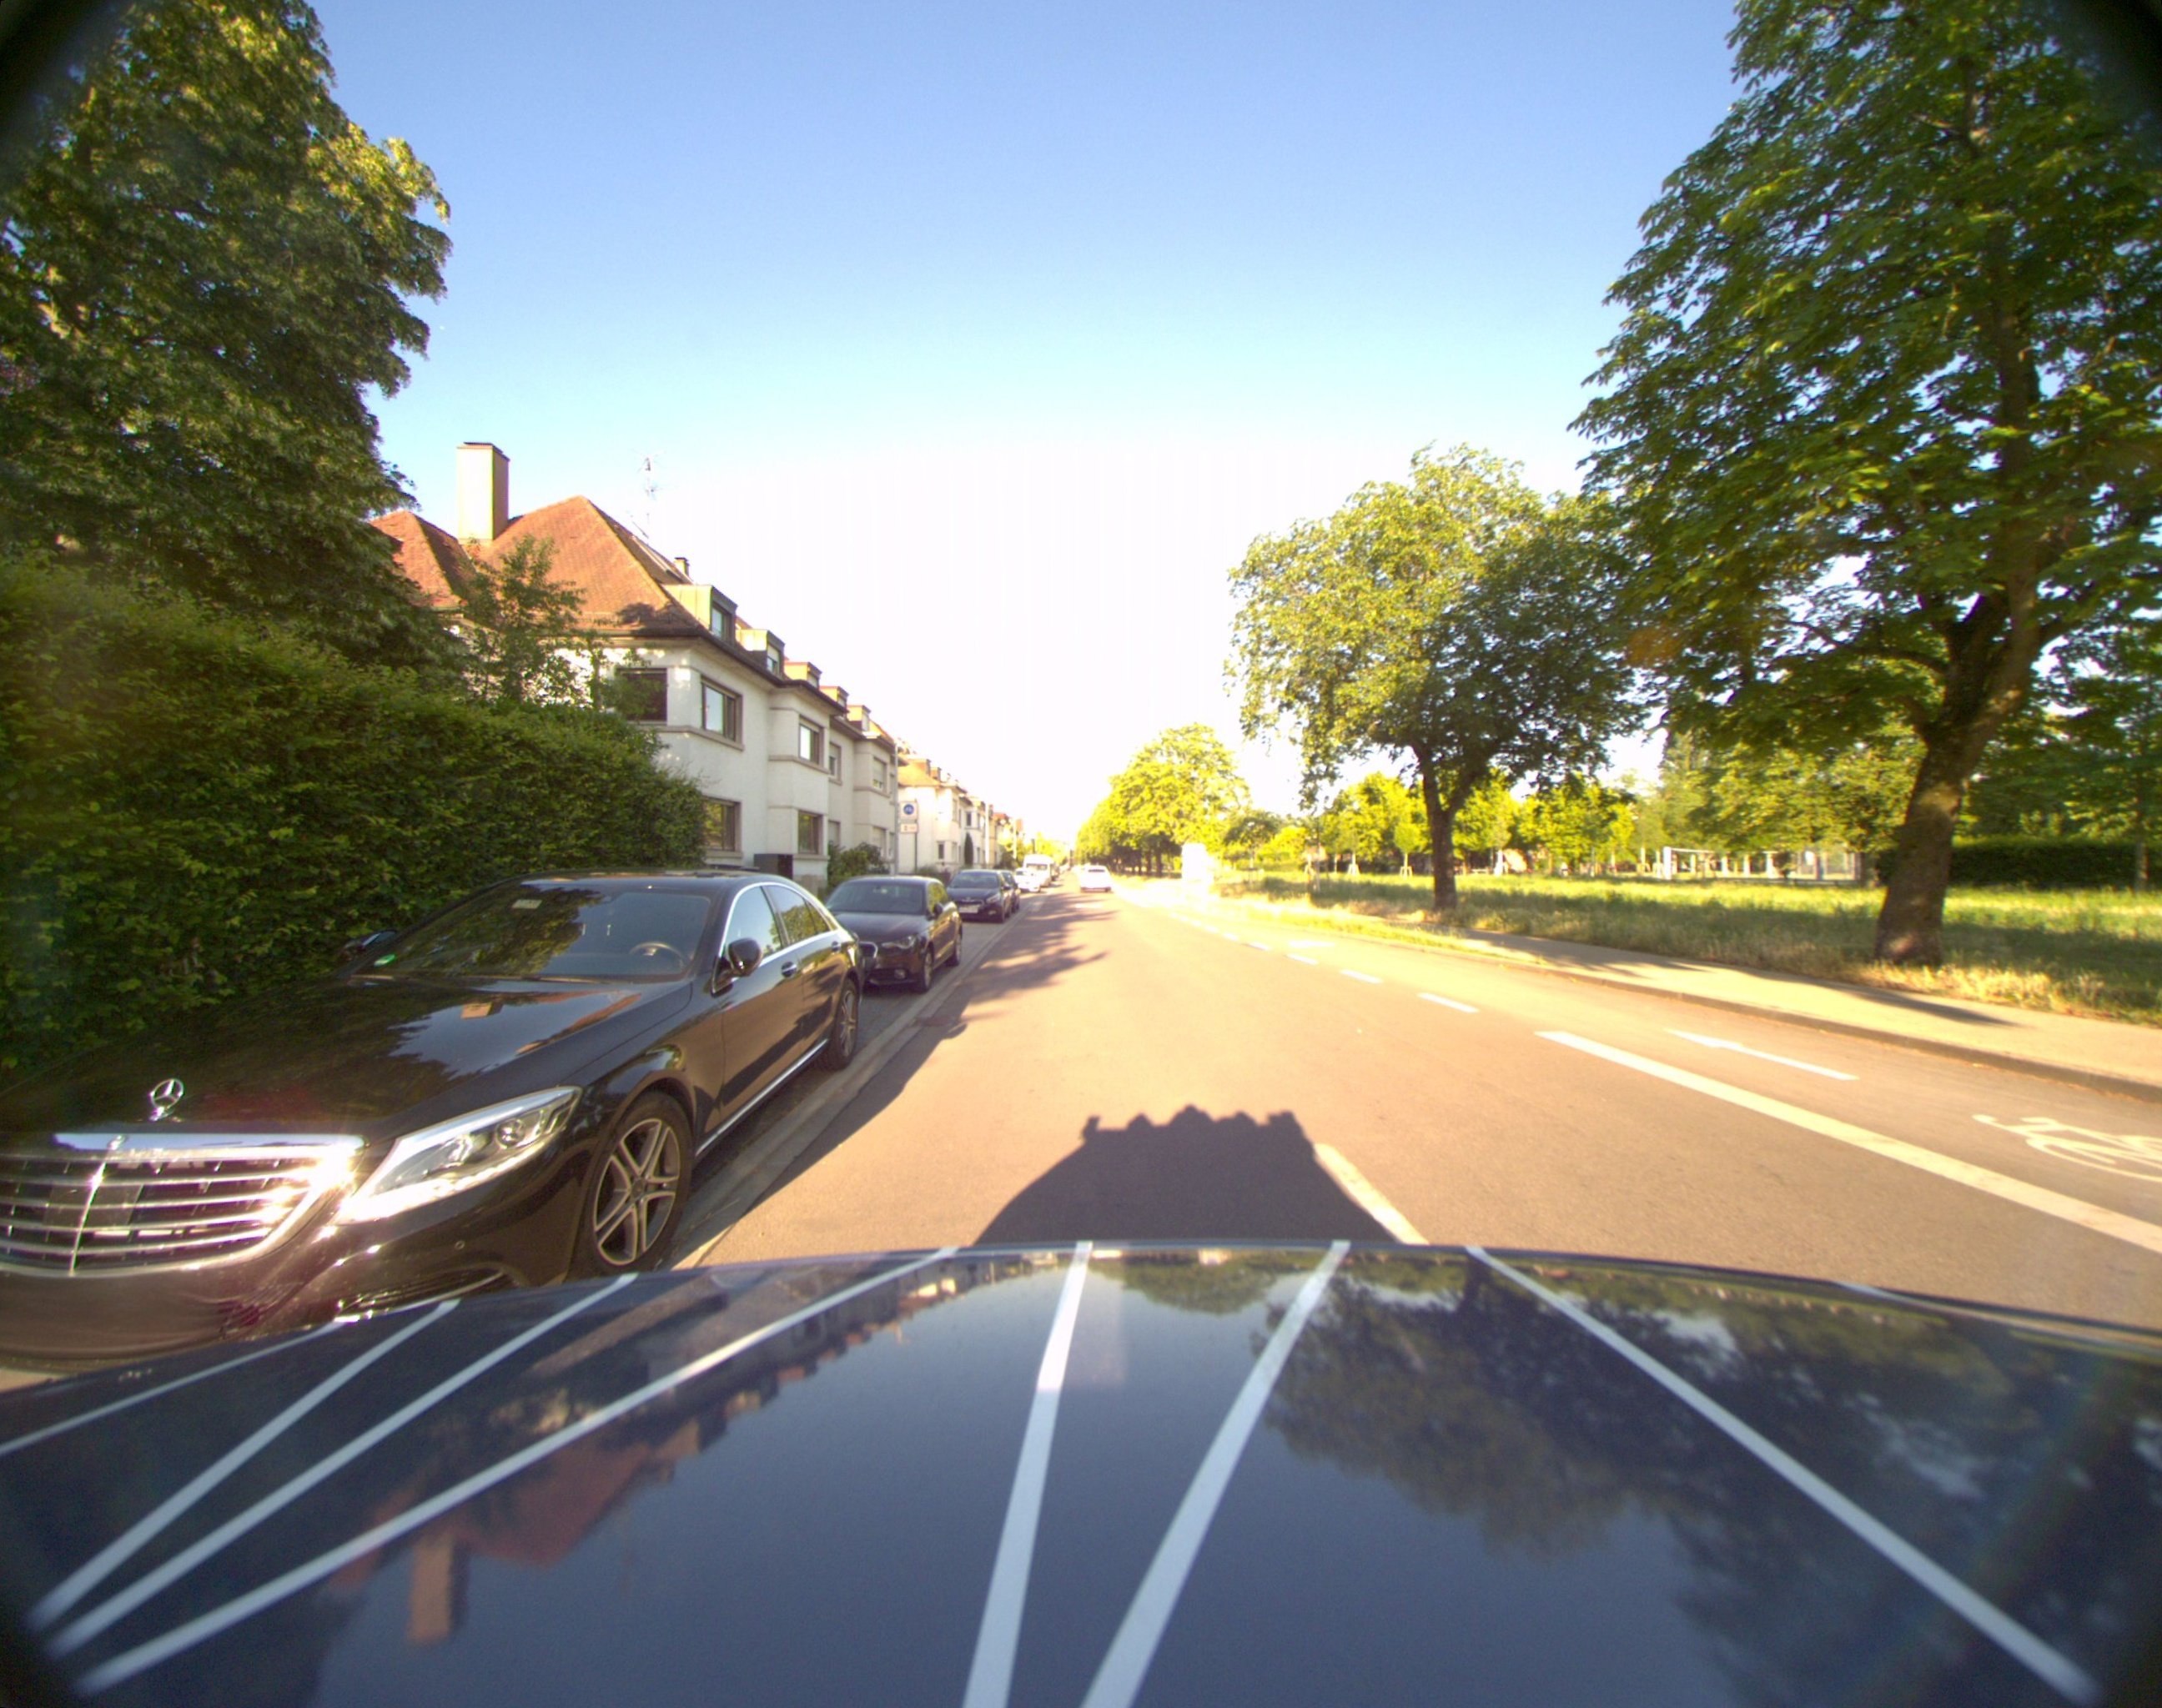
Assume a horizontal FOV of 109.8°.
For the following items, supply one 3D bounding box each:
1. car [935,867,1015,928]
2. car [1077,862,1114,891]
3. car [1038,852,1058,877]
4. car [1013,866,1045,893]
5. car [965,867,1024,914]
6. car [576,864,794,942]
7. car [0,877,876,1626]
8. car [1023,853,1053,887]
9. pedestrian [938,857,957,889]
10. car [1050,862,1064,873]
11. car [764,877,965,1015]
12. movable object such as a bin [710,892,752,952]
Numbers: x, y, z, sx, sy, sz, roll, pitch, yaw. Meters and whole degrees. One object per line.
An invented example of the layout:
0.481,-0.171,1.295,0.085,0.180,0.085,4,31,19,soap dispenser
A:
-2.941,1.166,21.967,1.751,1.466,4.255,3,-1,-2,car
0.833,1.381,47.329,1.896,1.666,4.423,-1,0,-4,car
-3.846,1.235,89.890,2.134,2.837,5.987,-1,-1,-1,car
-3.118,1.504,46.307,1.787,1.498,4.233,-1,0,-2,car
-3.024,1.264,27.298,1.723,1.462,3.983,2,-1,-2,car
-8.243,1.002,16.110,3.644,1.487,1.780,1,0,-5,car
-2.622,0.962,4.109,1.864,1.533,4.872,1,0,-3,car
-3.316,1.191,59.215,2.135,2.503,5.507,1,-1,-2,car
-8.525,1.193,48.461,1.089,2.002,0.865,0,0,-16,pedestrian
-3.706,2.032,116.395,1.974,1.630,4.000,2,-1,-1,car
-2.699,1.082,10.382,1.645,1.419,3.936,1,-1,-1,car
-6.440,1.236,13.987,0.509,1.037,0.658,-1,0,-6,movable object such as a bin
